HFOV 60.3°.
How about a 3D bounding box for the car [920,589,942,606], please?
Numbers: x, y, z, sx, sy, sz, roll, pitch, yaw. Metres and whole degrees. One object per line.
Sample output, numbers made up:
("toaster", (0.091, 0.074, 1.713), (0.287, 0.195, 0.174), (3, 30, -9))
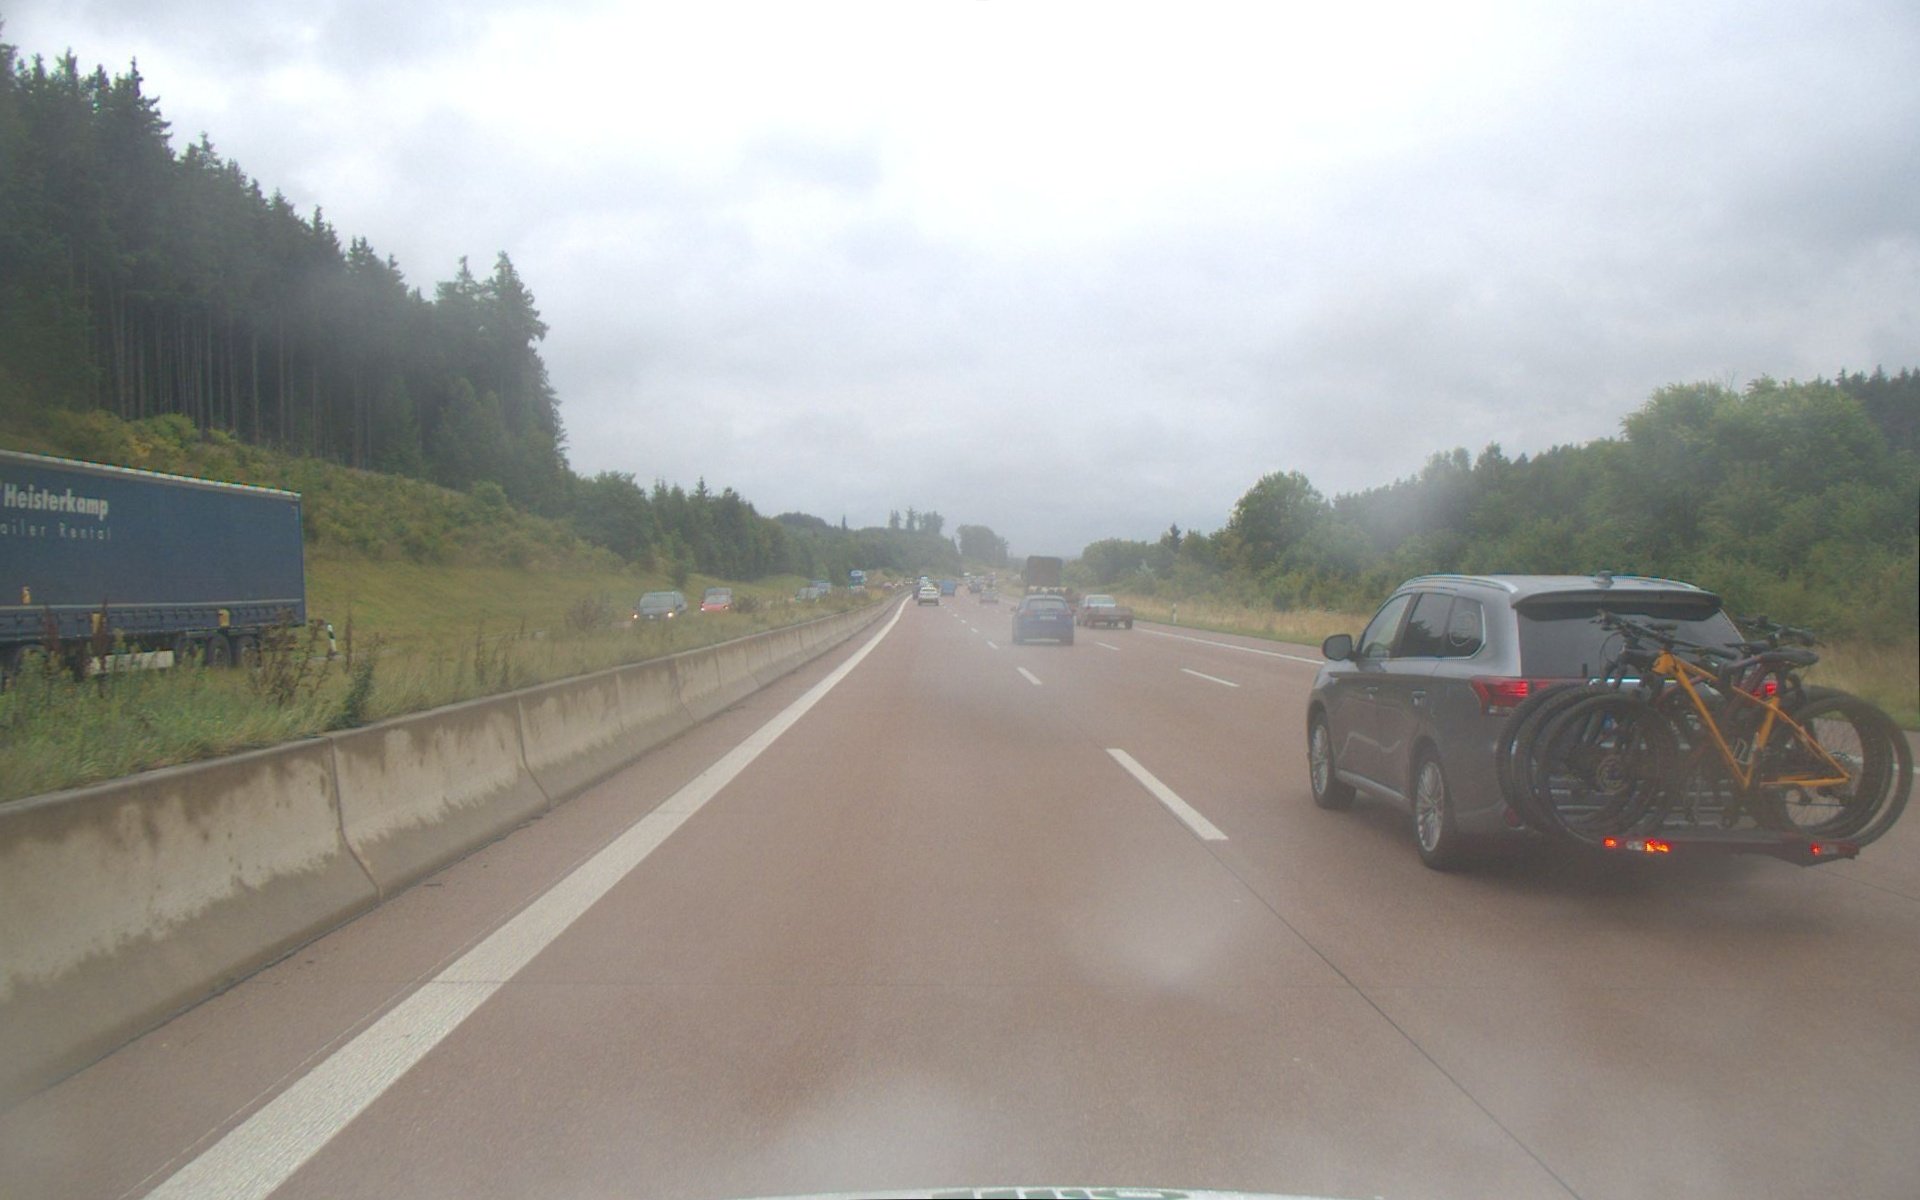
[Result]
("car", (-2.531, -0.195, 146.370), (1.835, 1.469, 4.876), (1, 0, 0))

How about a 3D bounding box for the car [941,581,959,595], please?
("car", (-1.349, -1.552, 218.127), (2.275, 1.780, 4.876), (1, 0, 0))

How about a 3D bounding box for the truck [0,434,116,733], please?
("truck", (-15.785, -0.264, 24.388), (2.864, 4.467, 7.402), (1, 0, -1))

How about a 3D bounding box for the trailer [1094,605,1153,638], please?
("trailer", (6.737, 0.858, 68.516), (1.931, 1.186, 4.639), (1, 1, -1))

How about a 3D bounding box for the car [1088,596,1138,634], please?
("car", (6.740, 0.642, 73.298), (1.663, 1.640, 4.975), (0, 0, -1))

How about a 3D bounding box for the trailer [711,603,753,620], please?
("trailer", (-16.256, 0.811, 118.134), (2.161, 1.015, 6.849), (-5, 0, -2))

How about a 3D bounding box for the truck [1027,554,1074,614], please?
("truck", (6.327, -1.069, 116.509), (2.838, 4.034, 6.987), (1, 0, -1))

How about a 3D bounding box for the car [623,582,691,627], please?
("car", (-12.541, 0.155, 68.731), (1.953, 1.798, 5.094), (0, 1, -1))

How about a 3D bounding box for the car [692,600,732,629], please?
("car", (-13.830, 0.804, 92.377), (1.691, 1.556, 4.116), (1, 0, -1))

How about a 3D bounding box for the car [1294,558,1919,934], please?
("car", (3.634, 0.660, 10.142), (1.953, 1.620, 5.819), (1, 0, 0))

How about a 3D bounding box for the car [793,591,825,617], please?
("car", (-10.868, 0.276, 119.247), (1.852, 1.811, 4.938), (1, 0, 0))

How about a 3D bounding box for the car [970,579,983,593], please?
("car", (2.492, -2.092, 254.147), (1.953, 2.049, 3.999), (1, 0, -1))

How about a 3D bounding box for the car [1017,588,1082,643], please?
("car", (2.699, 0.475, 50.648), (1.735, 1.591, 4.146), (1, 0, 0))

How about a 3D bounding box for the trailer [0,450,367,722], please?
("trailer", (-15.910, -0.199, 33.751), (2.859, 4.415, 13.576), (1, 0, -1))

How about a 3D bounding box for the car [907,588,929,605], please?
("car", (-4.668, -0.385, 185.163), (2.275, 1.780, 4.876), (1, 0, 0))

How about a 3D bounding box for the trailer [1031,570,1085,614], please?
("trailer", (6.337, -0.459, 108.823), (2.822, 2.722, 11.397), (1, 0, 0))

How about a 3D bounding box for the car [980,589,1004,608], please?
("car", (3.158, -0.164, 164.200), (2.275, 1.780, 4.876), (1, 0, 0))
